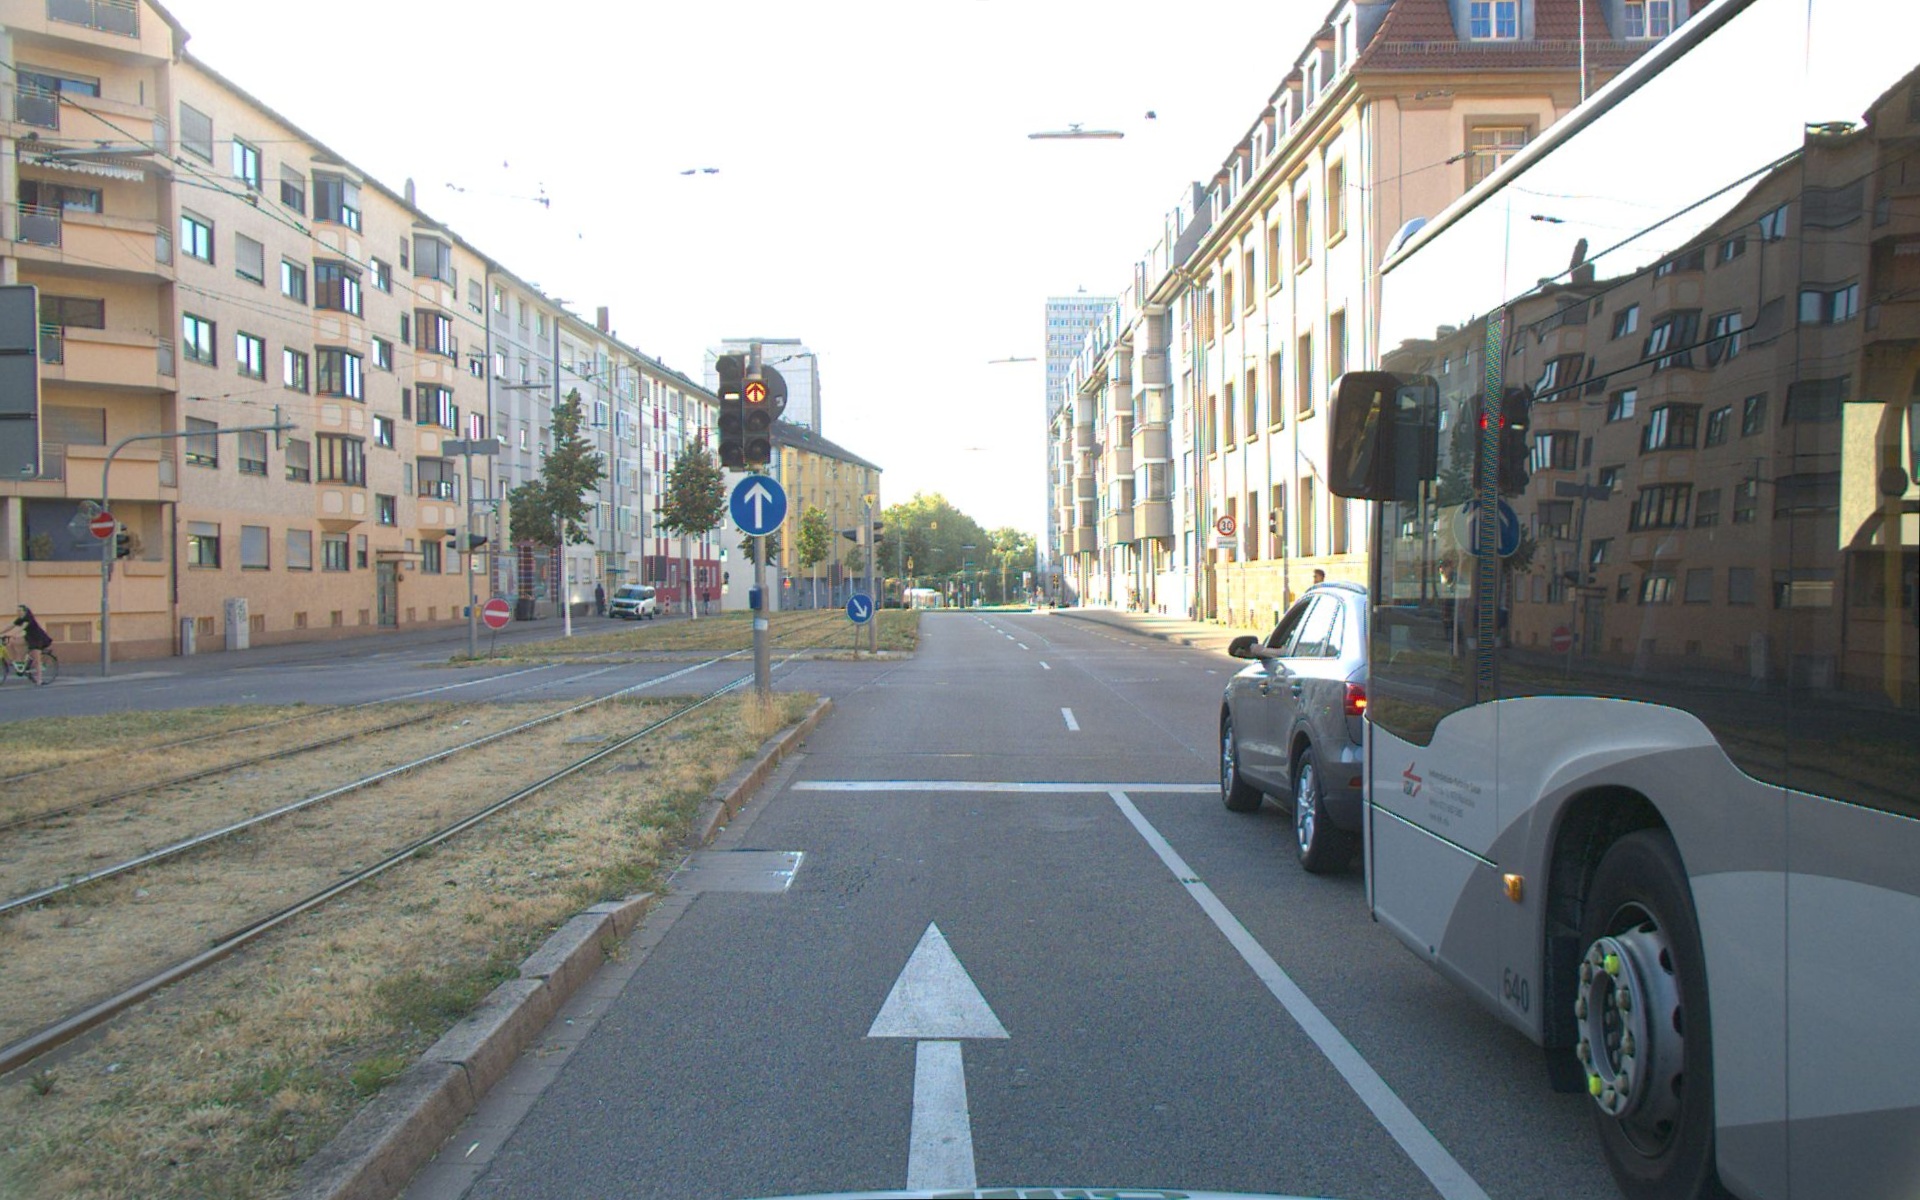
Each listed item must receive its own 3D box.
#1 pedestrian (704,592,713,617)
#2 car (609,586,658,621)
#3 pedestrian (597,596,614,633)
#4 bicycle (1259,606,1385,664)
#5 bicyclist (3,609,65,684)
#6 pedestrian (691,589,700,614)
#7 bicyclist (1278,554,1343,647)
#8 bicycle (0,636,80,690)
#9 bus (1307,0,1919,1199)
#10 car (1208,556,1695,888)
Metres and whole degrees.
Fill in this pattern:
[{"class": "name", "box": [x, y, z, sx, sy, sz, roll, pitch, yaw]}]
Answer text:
[{"class": "pedestrian", "box": [-17.340, 0.286, 113.977, 0.485, 1.687, 0.408, -1, 0, -1]}, {"class": "car", "box": [-17.756, 0.195, 90.097, 1.774, 1.829, 4.245, 1, 0, 1]}, {"class": "pedestrian", "box": [-19.574, 0.798, 91.408, 0.771, 2.049, 0.890, -1, 0, -4]}, {"class": "bicycle", "box": [6.187, 0.591, 28.317, 1.943, 0.909, 0.784, -2, 0, -11]}, {"class": "bicyclist", "box": [-18.876, 0.946, 33.722, 0.518, 1.472, 0.964, -1, 0, 29]}, {"class": "pedestrian", "box": [-18.176, 0.114, 113.732, 0.485, 1.687, 0.408, -1, 0, -1]}, {"class": "bicyclist", "box": [5.997, 0.013, 28.292, 0.887, 1.553, 0.646, -1, 0, -11]}, {"class": "bicycle", "box": [-18.927, 1.271, 33.592, 0.517, 1.001, 1.880, -1, 0, 29]}, {"class": "bus", "box": [2.841, -0.074, 2.259, 2.683, 3.109, 9.129, 0, 0, -1]}, {"class": "car", "box": [2.753, 0.591, 10.264, 1.734, 1.603, 4.085, -1, 0, -1]}]
